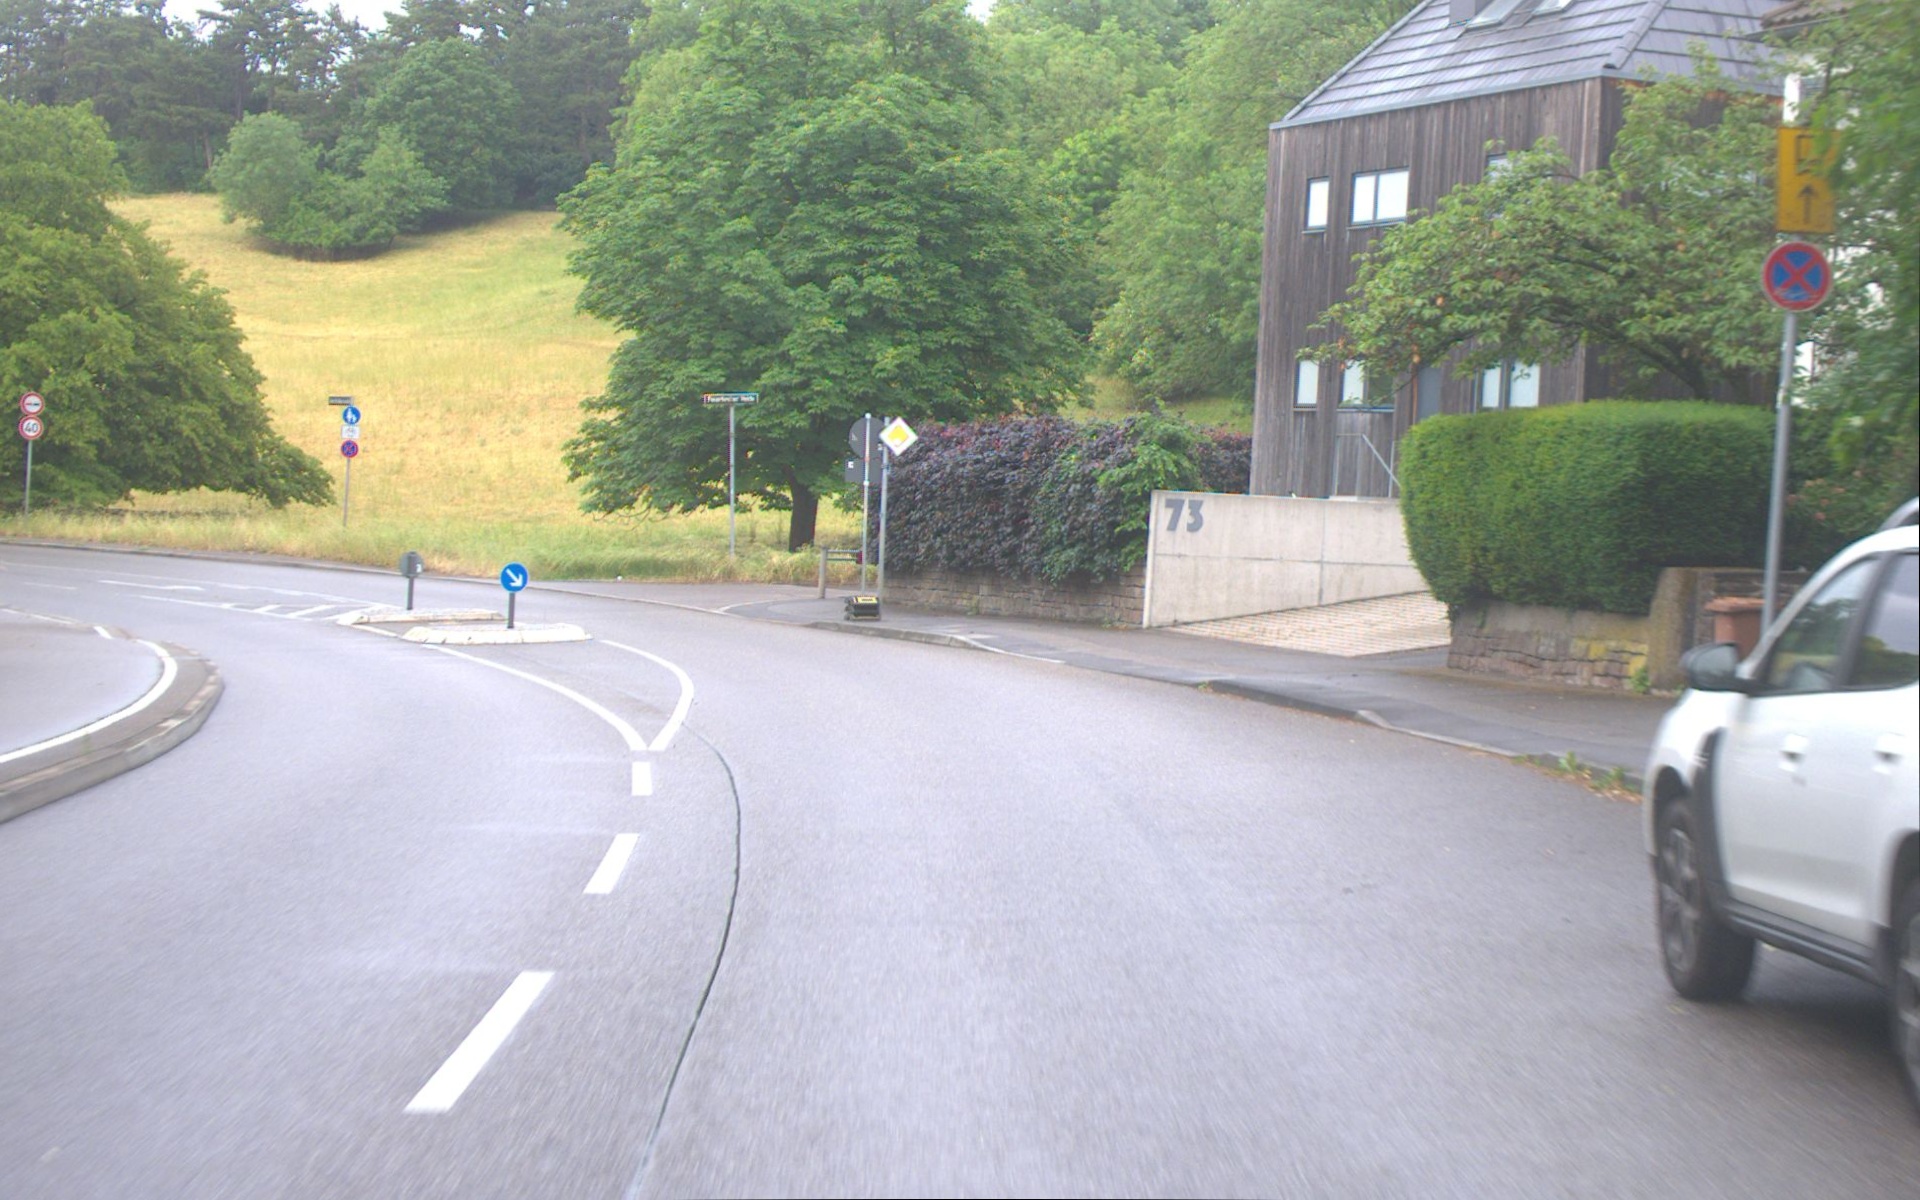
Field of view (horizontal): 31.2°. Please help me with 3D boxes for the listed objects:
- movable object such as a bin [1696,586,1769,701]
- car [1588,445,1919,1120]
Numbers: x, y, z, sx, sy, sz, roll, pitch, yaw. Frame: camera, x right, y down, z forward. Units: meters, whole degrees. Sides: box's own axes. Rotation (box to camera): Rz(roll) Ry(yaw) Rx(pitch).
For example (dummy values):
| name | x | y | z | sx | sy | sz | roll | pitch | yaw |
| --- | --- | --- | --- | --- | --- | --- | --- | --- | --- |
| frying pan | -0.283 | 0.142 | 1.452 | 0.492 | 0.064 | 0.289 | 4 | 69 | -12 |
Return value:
| name | x | y | z | sx | sy | sz | roll | pitch | yaw |
| --- | --- | --- | --- | --- | --- | --- | --- | --- | --- |
| movable object such as a bin | 6.347 | 0.353 | 28.260 | 0.418 | 0.917 | 0.463 | 1 | 1 | -11 |
| car | 3.233 | 0.429 | 10.190 | 1.745 | 1.700 | 4.502 | 0 | 1 | -2 |
